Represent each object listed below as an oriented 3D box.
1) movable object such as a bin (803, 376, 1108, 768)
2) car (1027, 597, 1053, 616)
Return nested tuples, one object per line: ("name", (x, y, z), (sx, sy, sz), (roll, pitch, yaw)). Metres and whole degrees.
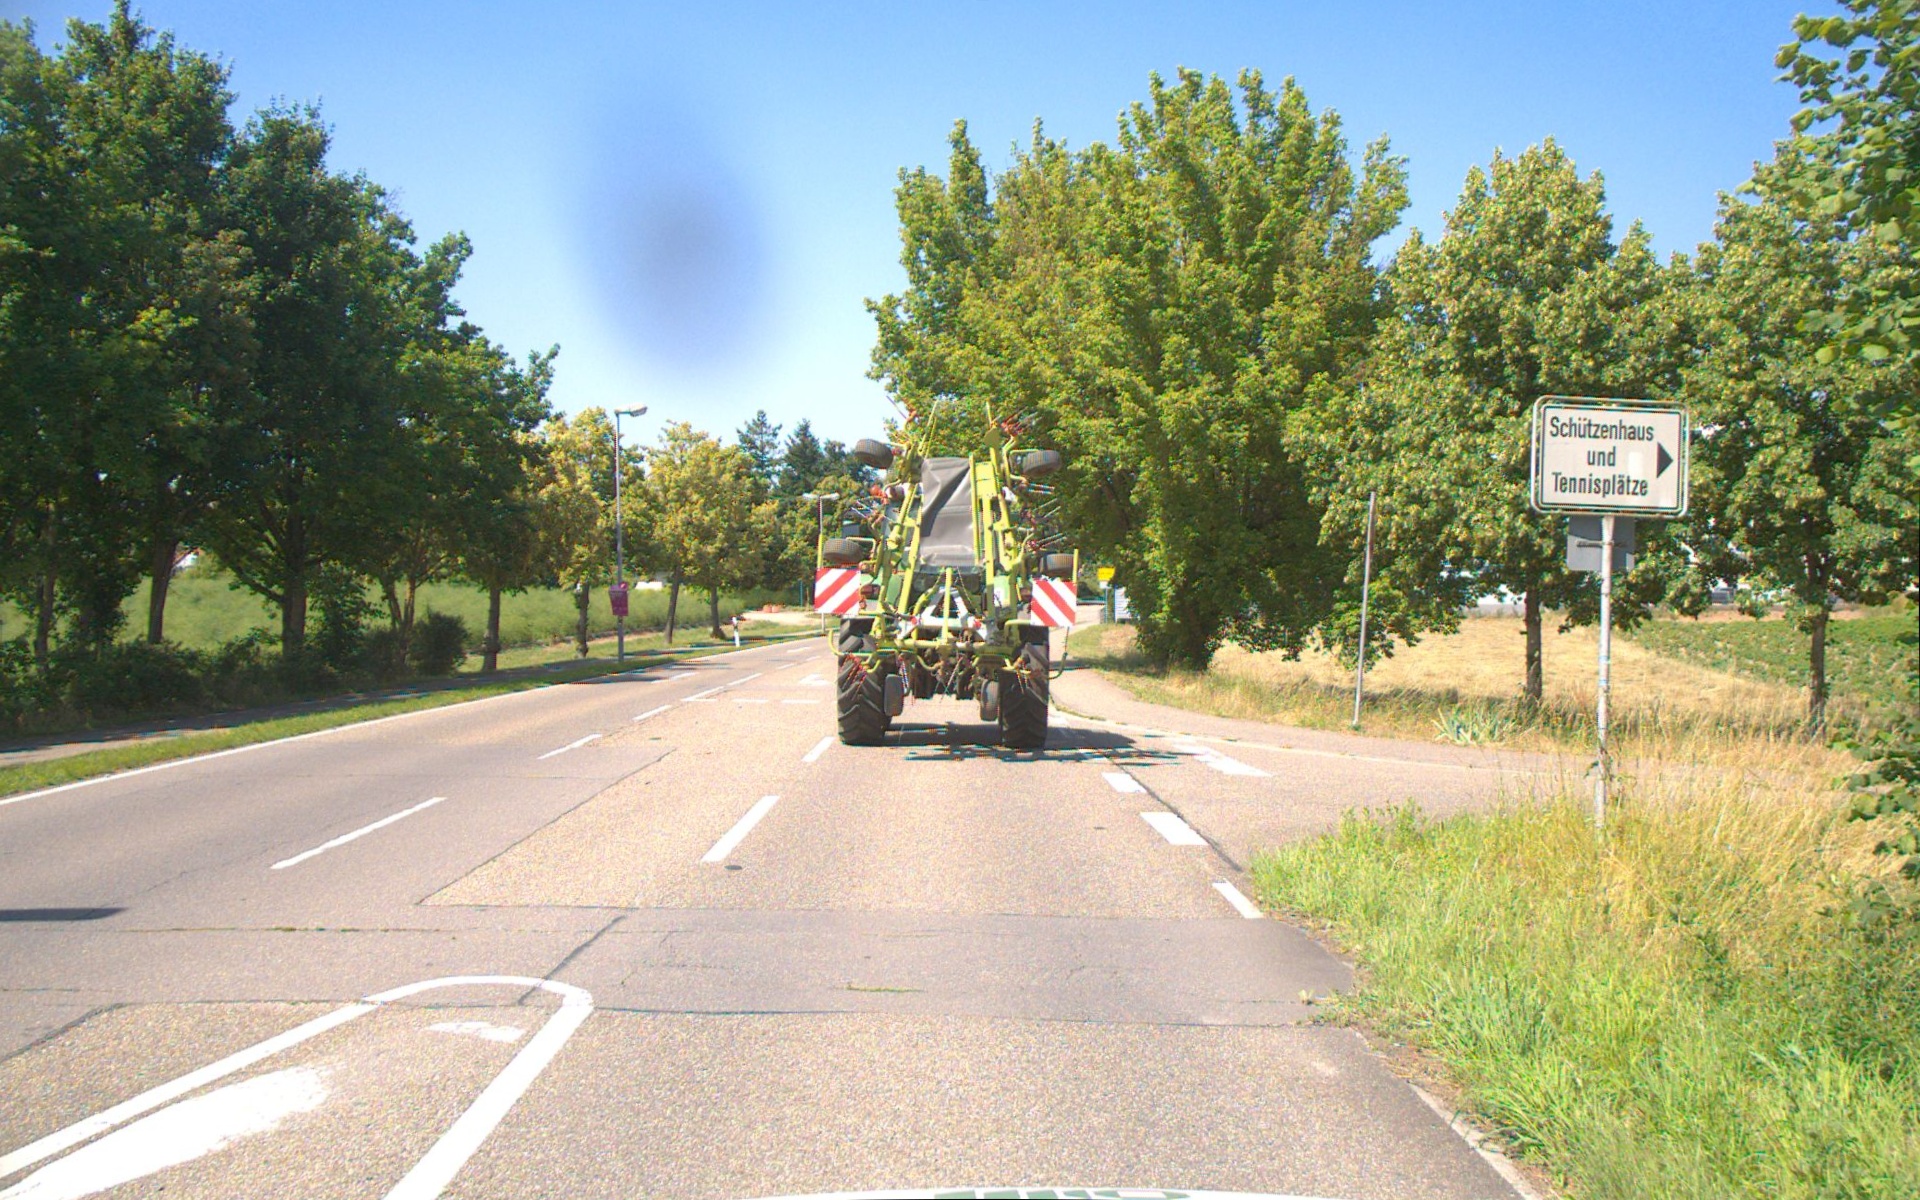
("movable object such as a bin", (-0.133, -0.227, 20.160), (2.795, 3.603, 9.697), (1, 0, -1))
("car", (6.470, 0.524, 133.647), (1.614, 1.458, 3.900), (3, 1, 8))
